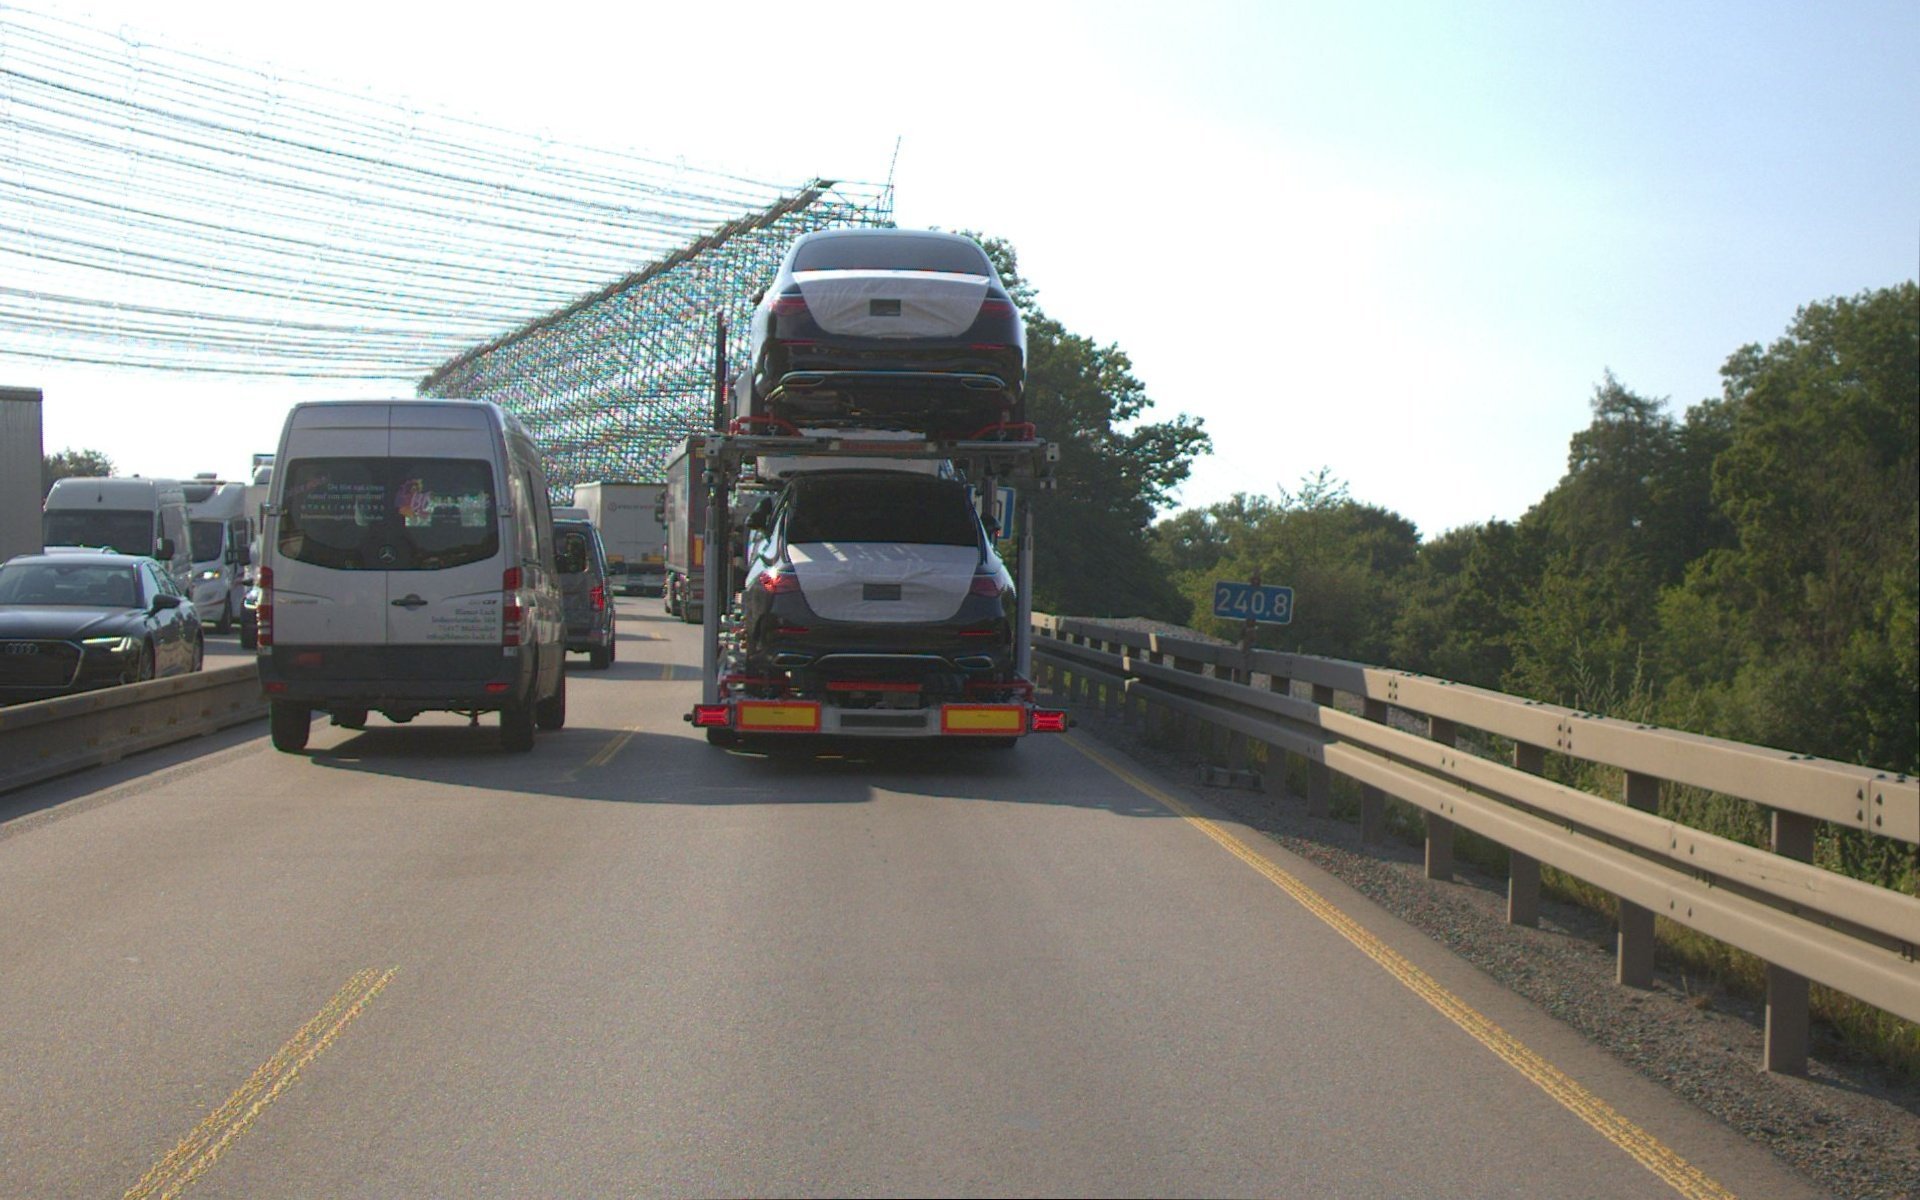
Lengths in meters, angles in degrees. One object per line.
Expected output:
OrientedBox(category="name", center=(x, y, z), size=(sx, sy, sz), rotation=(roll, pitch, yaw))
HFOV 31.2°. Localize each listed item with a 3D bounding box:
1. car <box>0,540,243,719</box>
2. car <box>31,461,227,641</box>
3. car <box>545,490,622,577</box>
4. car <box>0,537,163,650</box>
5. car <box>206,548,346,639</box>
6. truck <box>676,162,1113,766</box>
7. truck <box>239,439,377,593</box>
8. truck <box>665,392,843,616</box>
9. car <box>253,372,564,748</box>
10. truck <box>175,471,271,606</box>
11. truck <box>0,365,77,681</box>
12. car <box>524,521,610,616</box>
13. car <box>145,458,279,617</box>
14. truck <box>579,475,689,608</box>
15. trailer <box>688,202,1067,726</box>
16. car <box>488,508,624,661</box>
OrientedBox(category="car", center=(-8.052, 0.271, 31.718), size=(1.993, 1.525, 4.726), rotation=(0, -1, -1))
OrientedBox(category="car", center=(-13.264, -0.719, 55.186), size=(2.128, 2.741, 5.505), rotation=(0, -1, -3))
OrientedBox(category="car", center=(-9.009, -1.565, 82.419), size=(1.668, 1.978, 3.818), rotation=(0, -1, -4))
OrientedBox(category="car", center=(-12.422, -0.069, 48.183), size=(1.808, 1.525, 4.048), rotation=(0, -1, -4))
OrientedBox(category="car", center=(-10.589, -0.083, 53.429), size=(1.668, 1.363, 3.818), rotation=(0, -1, -4))
OrientedBox(category="truck", center=(-0.579, -0.875, 25.515), size=(2.869, 3.966, 5.772), rotation=(0, -1, -3))
OrientedBox(category="truck", center=(-17.709, -2.263, 93.917), size=(2.641, 3.981, 9.031), rotation=(0, 1, -4))
OrientedBox(category="truck", center=(-4.808, -2.104, 77.727), size=(3.227, 4.661, 11.698), rotation=(0, 1, -7))
OrientedBox(category="car", center=(-4.165, -0.268, 26.566), size=(1.979, 2.675, 4.147), rotation=(0, -1, -4))
OrientedBox(category="truck", center=(-26.720, -2.216, 124.482), size=(3.227, 4.661, 11.699), rotation=(0, 1, -12))
OrientedBox(category="truck", center=(-11.863, -0.849, 38.284), size=(2.358, 3.519, 7.698), rotation=(0, -1, -2))
OrientedBox(category="car", center=(-8.419, -0.648, 73.910), size=(1.668, 1.978, 3.818), rotation=(0, -1, -4))
OrientedBox(category="car", center=(-13.497, -1.123, 62.277), size=(1.668, 2.756, 4.960), rotation=(0, 1, -4))
OrientedBox(category="truck", center=(-12.060, -2.151, 126.360), size=(3.647, 4.661, 11.698), rotation=(0, 1, -7))
OrientedBox(category="trailer", center=(-1.021, -0.968, 33.783), size=(2.874, 3.980, 15.280), rotation=(0, -1, -3))
OrientedBox(category="car", center=(-5.440, -0.188, 46.600), size=(1.668, 1.978, 3.818), rotation=(0, -1, -4))
